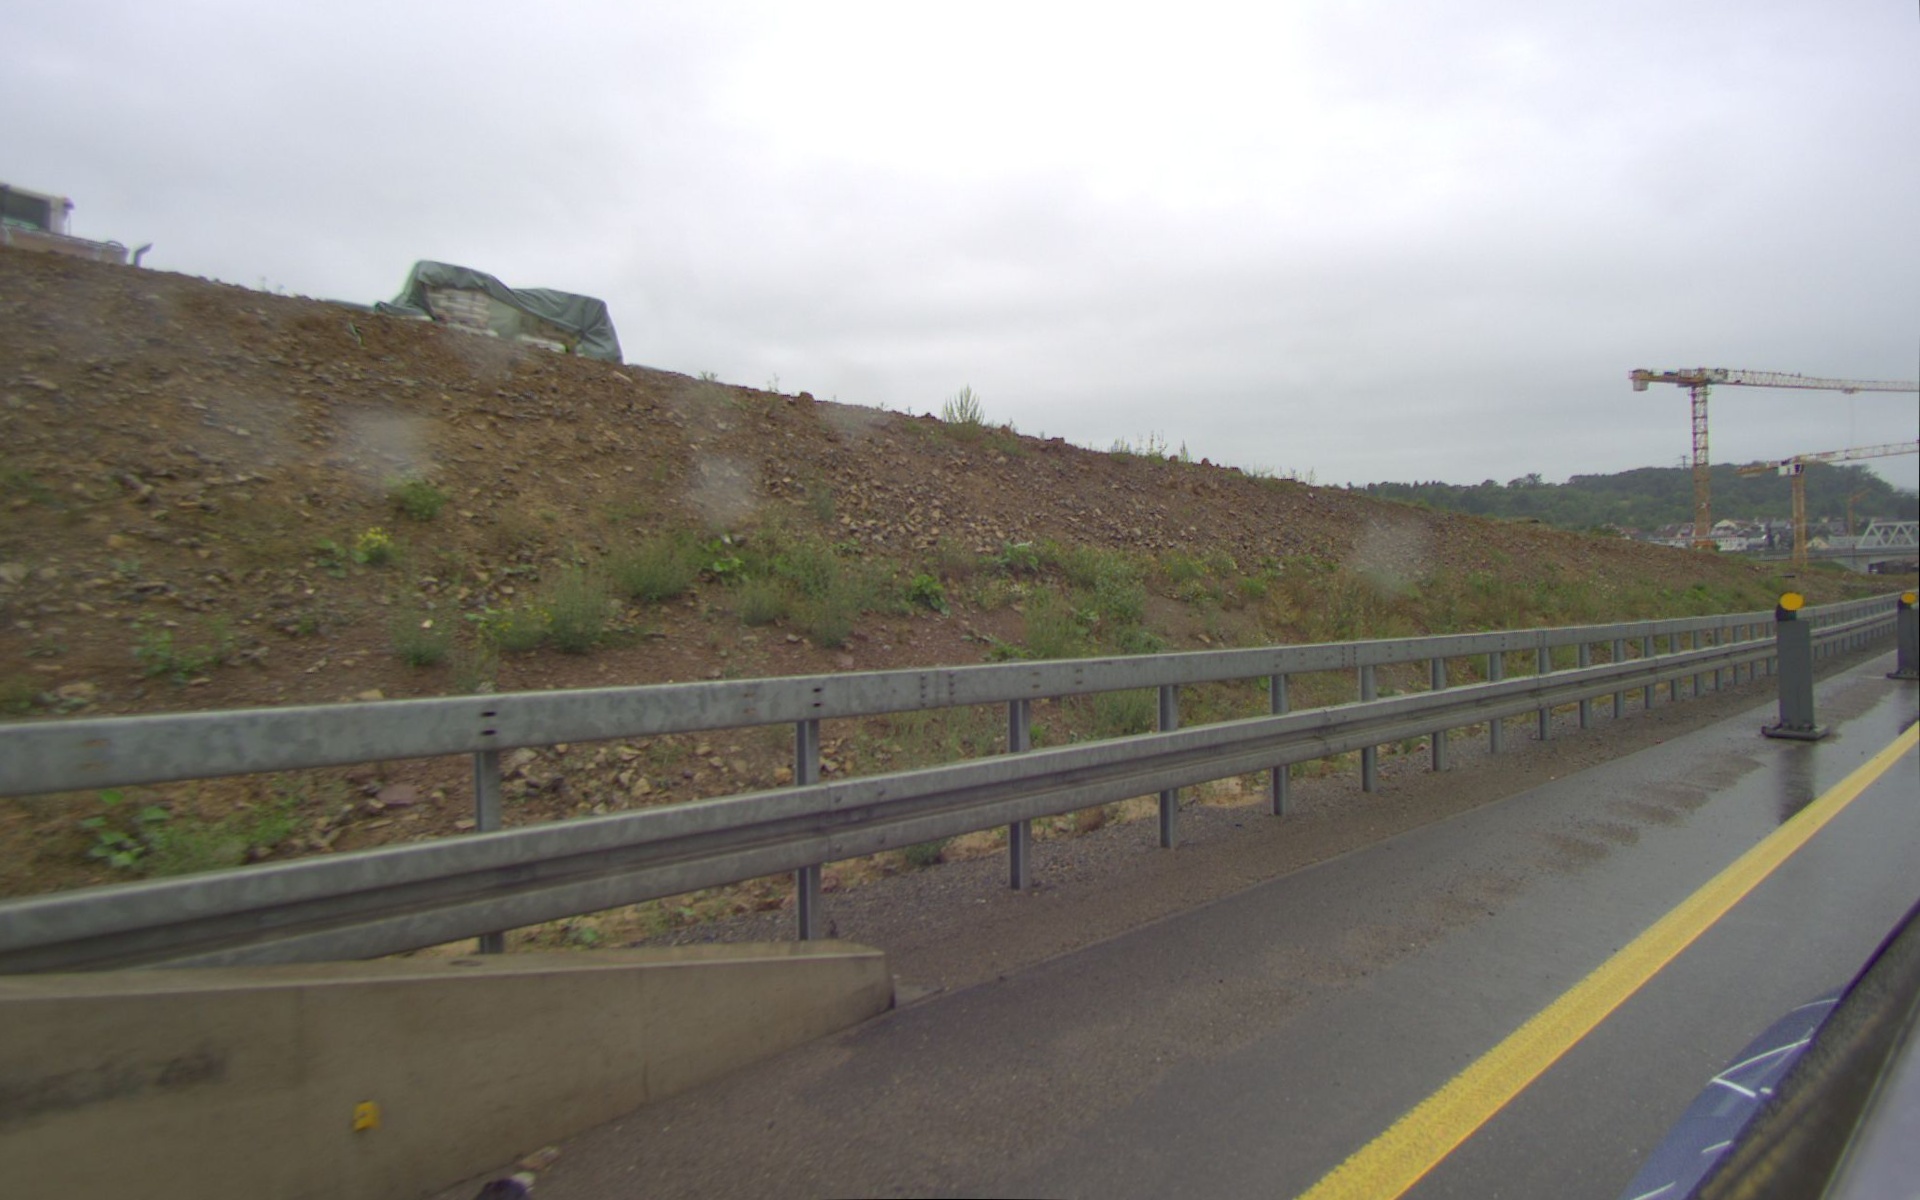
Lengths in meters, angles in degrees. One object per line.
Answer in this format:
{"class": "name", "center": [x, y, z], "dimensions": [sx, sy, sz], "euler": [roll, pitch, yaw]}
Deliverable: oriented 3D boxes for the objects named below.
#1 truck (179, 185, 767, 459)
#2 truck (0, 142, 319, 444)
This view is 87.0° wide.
{"class": "truck", "center": [-8.186, -4.356, 17.898], "dimensions": [8.800, 2.910, 3.403], "euler": [-2, 2, -39]}
{"class": "truck", "center": [-15.113, -5.251, 18.032], "dimensions": [5.877, 4.270, 2.377], "euler": [-2, 2, -42]}
